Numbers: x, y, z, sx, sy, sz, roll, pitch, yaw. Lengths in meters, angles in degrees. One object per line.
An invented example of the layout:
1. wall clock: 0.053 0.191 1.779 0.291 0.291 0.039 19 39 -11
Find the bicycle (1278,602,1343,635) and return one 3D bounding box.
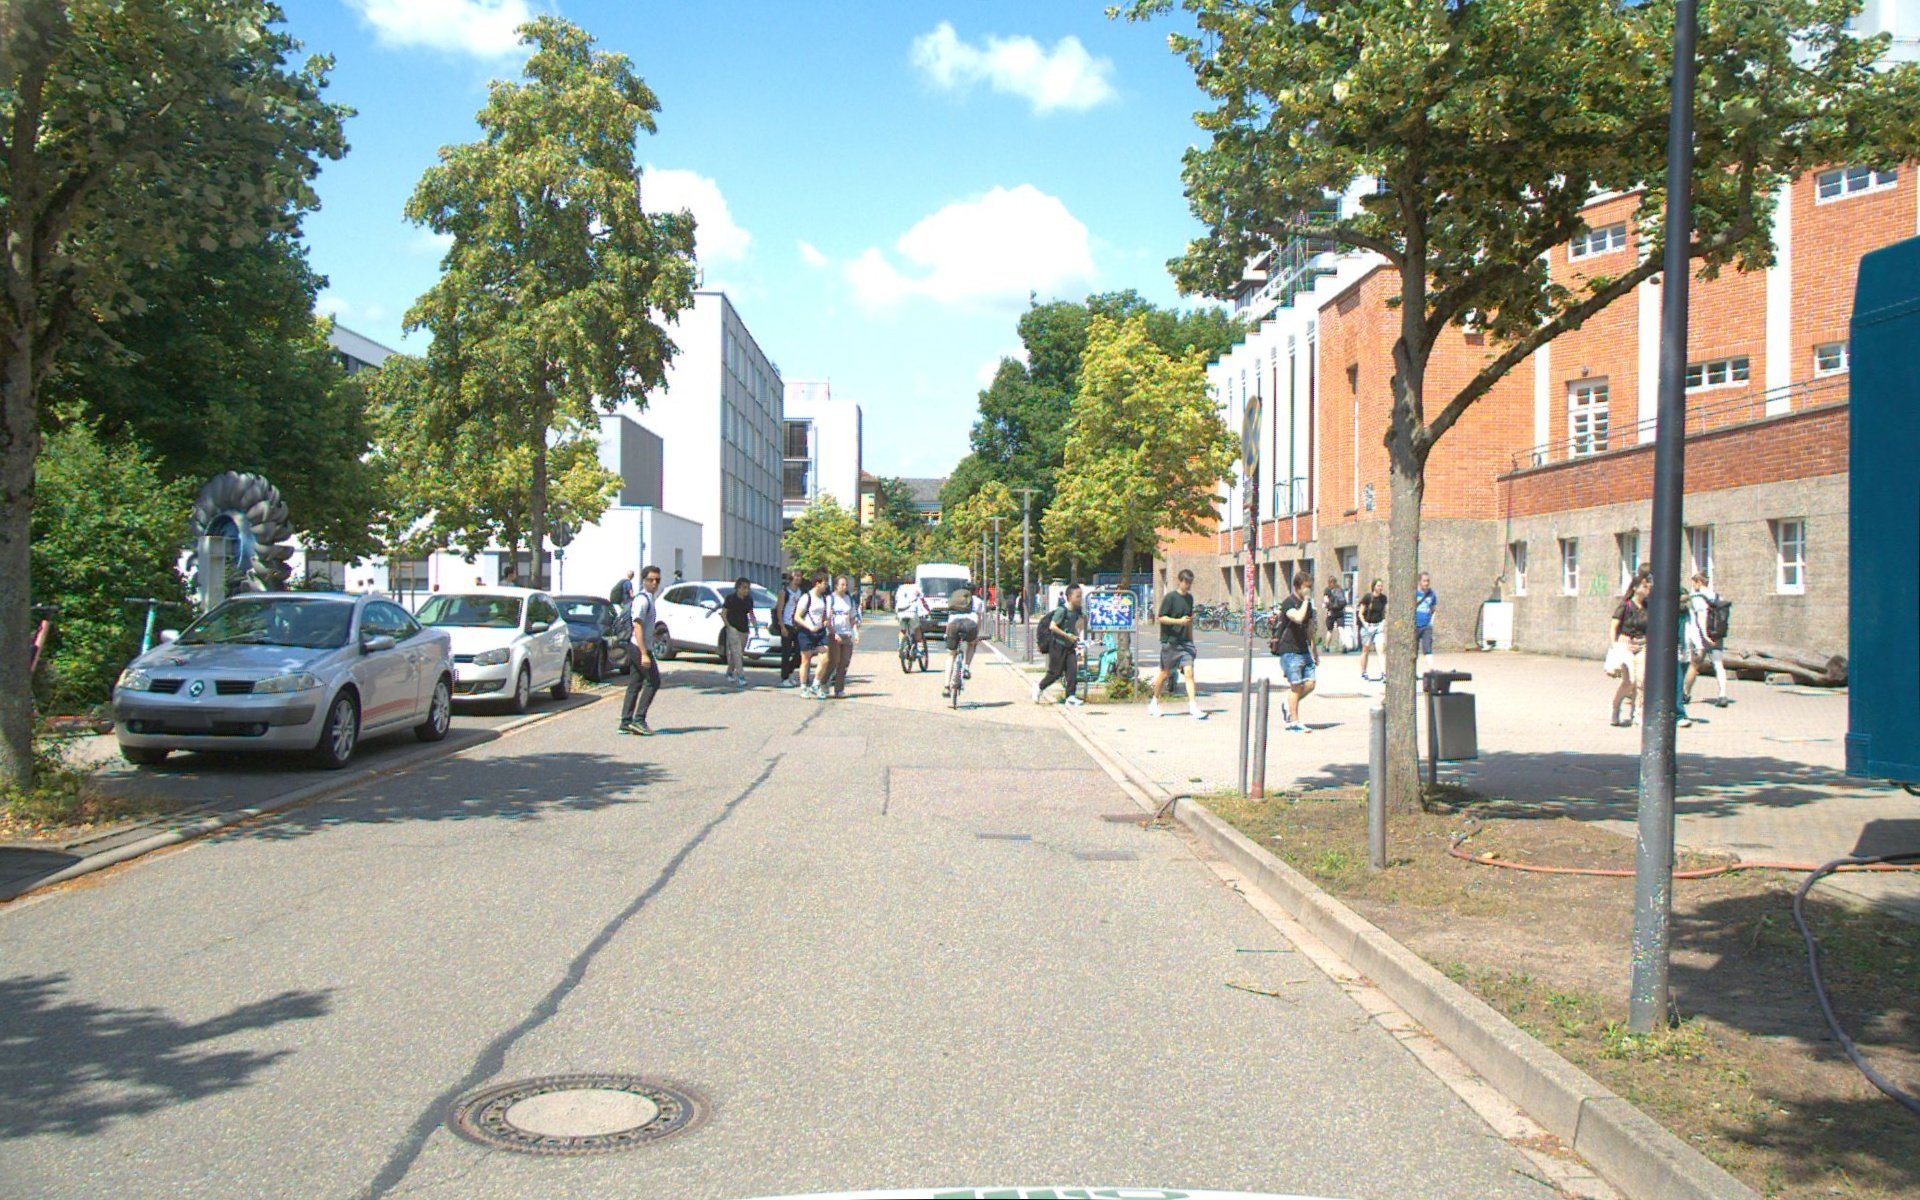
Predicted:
1. bicycle: 10.383 0.554 49.046 1.773 0.928 0.560 -1 0 -2

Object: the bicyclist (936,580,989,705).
1. bicyclist: 0.029 0.575 23.063 0.703 1.691 1.095 0 0 -2

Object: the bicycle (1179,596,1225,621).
1. bicycle: 9.950 0.349 67.998 1.773 1.002 0.560 -2 0 -2

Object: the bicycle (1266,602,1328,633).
1. bicycle: 10.444 0.537 51.309 1.773 0.928 0.560 -2 0 -2

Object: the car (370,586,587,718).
1. car: -5.819 0.571 20.438 1.628 1.436 3.806 1 0 -2

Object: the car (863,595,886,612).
1. car: -8.206 0.358 158.522 1.758 1.557 4.002 0 0 3

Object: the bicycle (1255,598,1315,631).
1. bicycle: 10.425 0.473 53.072 1.773 1.002 0.560 -2 0 -2

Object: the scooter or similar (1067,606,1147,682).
1. scooter or similar: 2.573 0.753 28.899 1.237 1.287 0.638 0 0 31

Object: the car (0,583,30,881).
1. car: -5.489 0.631 6.090 1.691 1.482 4.580 2 0 -3

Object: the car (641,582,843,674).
1. car: -4.476 0.533 33.448 1.906 1.647 4.454 4 -1 -40

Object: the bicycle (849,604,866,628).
1. bicycle: -4.295 0.680 69.500 0.663 0.982 2.001 2 -1 -4

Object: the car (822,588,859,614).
1. car: -7.153 0.042 99.540 1.758 1.557 4.002 0 0 3

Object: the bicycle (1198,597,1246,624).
1. bicycle: 10.289 0.395 64.968 1.773 1.002 0.560 -2 0 -2

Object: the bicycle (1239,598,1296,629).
1. bicycle: 10.230 0.447 55.027 1.773 1.002 0.560 -2 0 -2

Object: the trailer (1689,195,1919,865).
1. trailer: 5.811 -0.340 6.776 2.637 3.105 6.254 -1 0 -2

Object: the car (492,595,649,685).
1. car: -6.209 0.595 26.745 1.611 1.323 3.927 0 0 0

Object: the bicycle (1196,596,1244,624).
1. bicycle: 10.075 0.384 64.129 1.773 1.002 0.560 -2 0 -2

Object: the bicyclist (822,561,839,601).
1. bicyclist: -5.324 -0.787 68.001 0.630 1.629 0.908 -1 0 -3

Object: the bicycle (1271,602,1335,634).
1. bicycle: 10.347 0.544 49.900 1.773 0.928 0.560 -1 0 -2

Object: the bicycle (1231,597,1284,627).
1. bicycle: 10.501 0.426 58.415 1.773 1.002 0.560 -2 0 -2

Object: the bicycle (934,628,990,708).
1. bicycle: 0.016 0.936 23.237 0.692 1.010 1.910 2 0 -2

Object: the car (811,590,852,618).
1. car: -7.145 0.201 92.126 1.758 1.557 4.002 0 0 3

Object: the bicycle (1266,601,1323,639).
1. bicycle: 9.523 0.560 47.082 1.504 1.051 0.560 -1 0 -2

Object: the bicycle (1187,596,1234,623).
1. bicycle: 9.935 0.372 65.660 1.773 1.002 0.560 -2 0 -2

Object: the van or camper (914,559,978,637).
1. van or camper: -0.434 -0.058 55.524 1.952 2.488 4.570 -1 -1 1

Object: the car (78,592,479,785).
1. car: -5.654 0.647 14.333 1.690 1.367 4.165 2 0 0

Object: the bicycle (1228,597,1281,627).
1. bicycle: 10.502 0.422 59.057 1.773 1.002 0.560 -2 0 -2

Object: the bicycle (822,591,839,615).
1. bicycle: -5.299 0.115 67.868 0.663 0.981 2.002 0 0 -3

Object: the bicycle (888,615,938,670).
1. bicycle: -0.887 0.815 31.936 0.791 1.020 2.124 0 -1 3

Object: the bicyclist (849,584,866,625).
1. bicyclist: -4.319 0.181 69.452 0.654 1.711 0.992 -1 0 -5

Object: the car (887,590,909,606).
1. car: -5.890 -0.203 158.172 1.758 1.557 4.002 0 0 3

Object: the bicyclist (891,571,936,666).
1. bicyclist: -0.891 0.348 31.892 0.755 1.787 0.849 1 0 3
